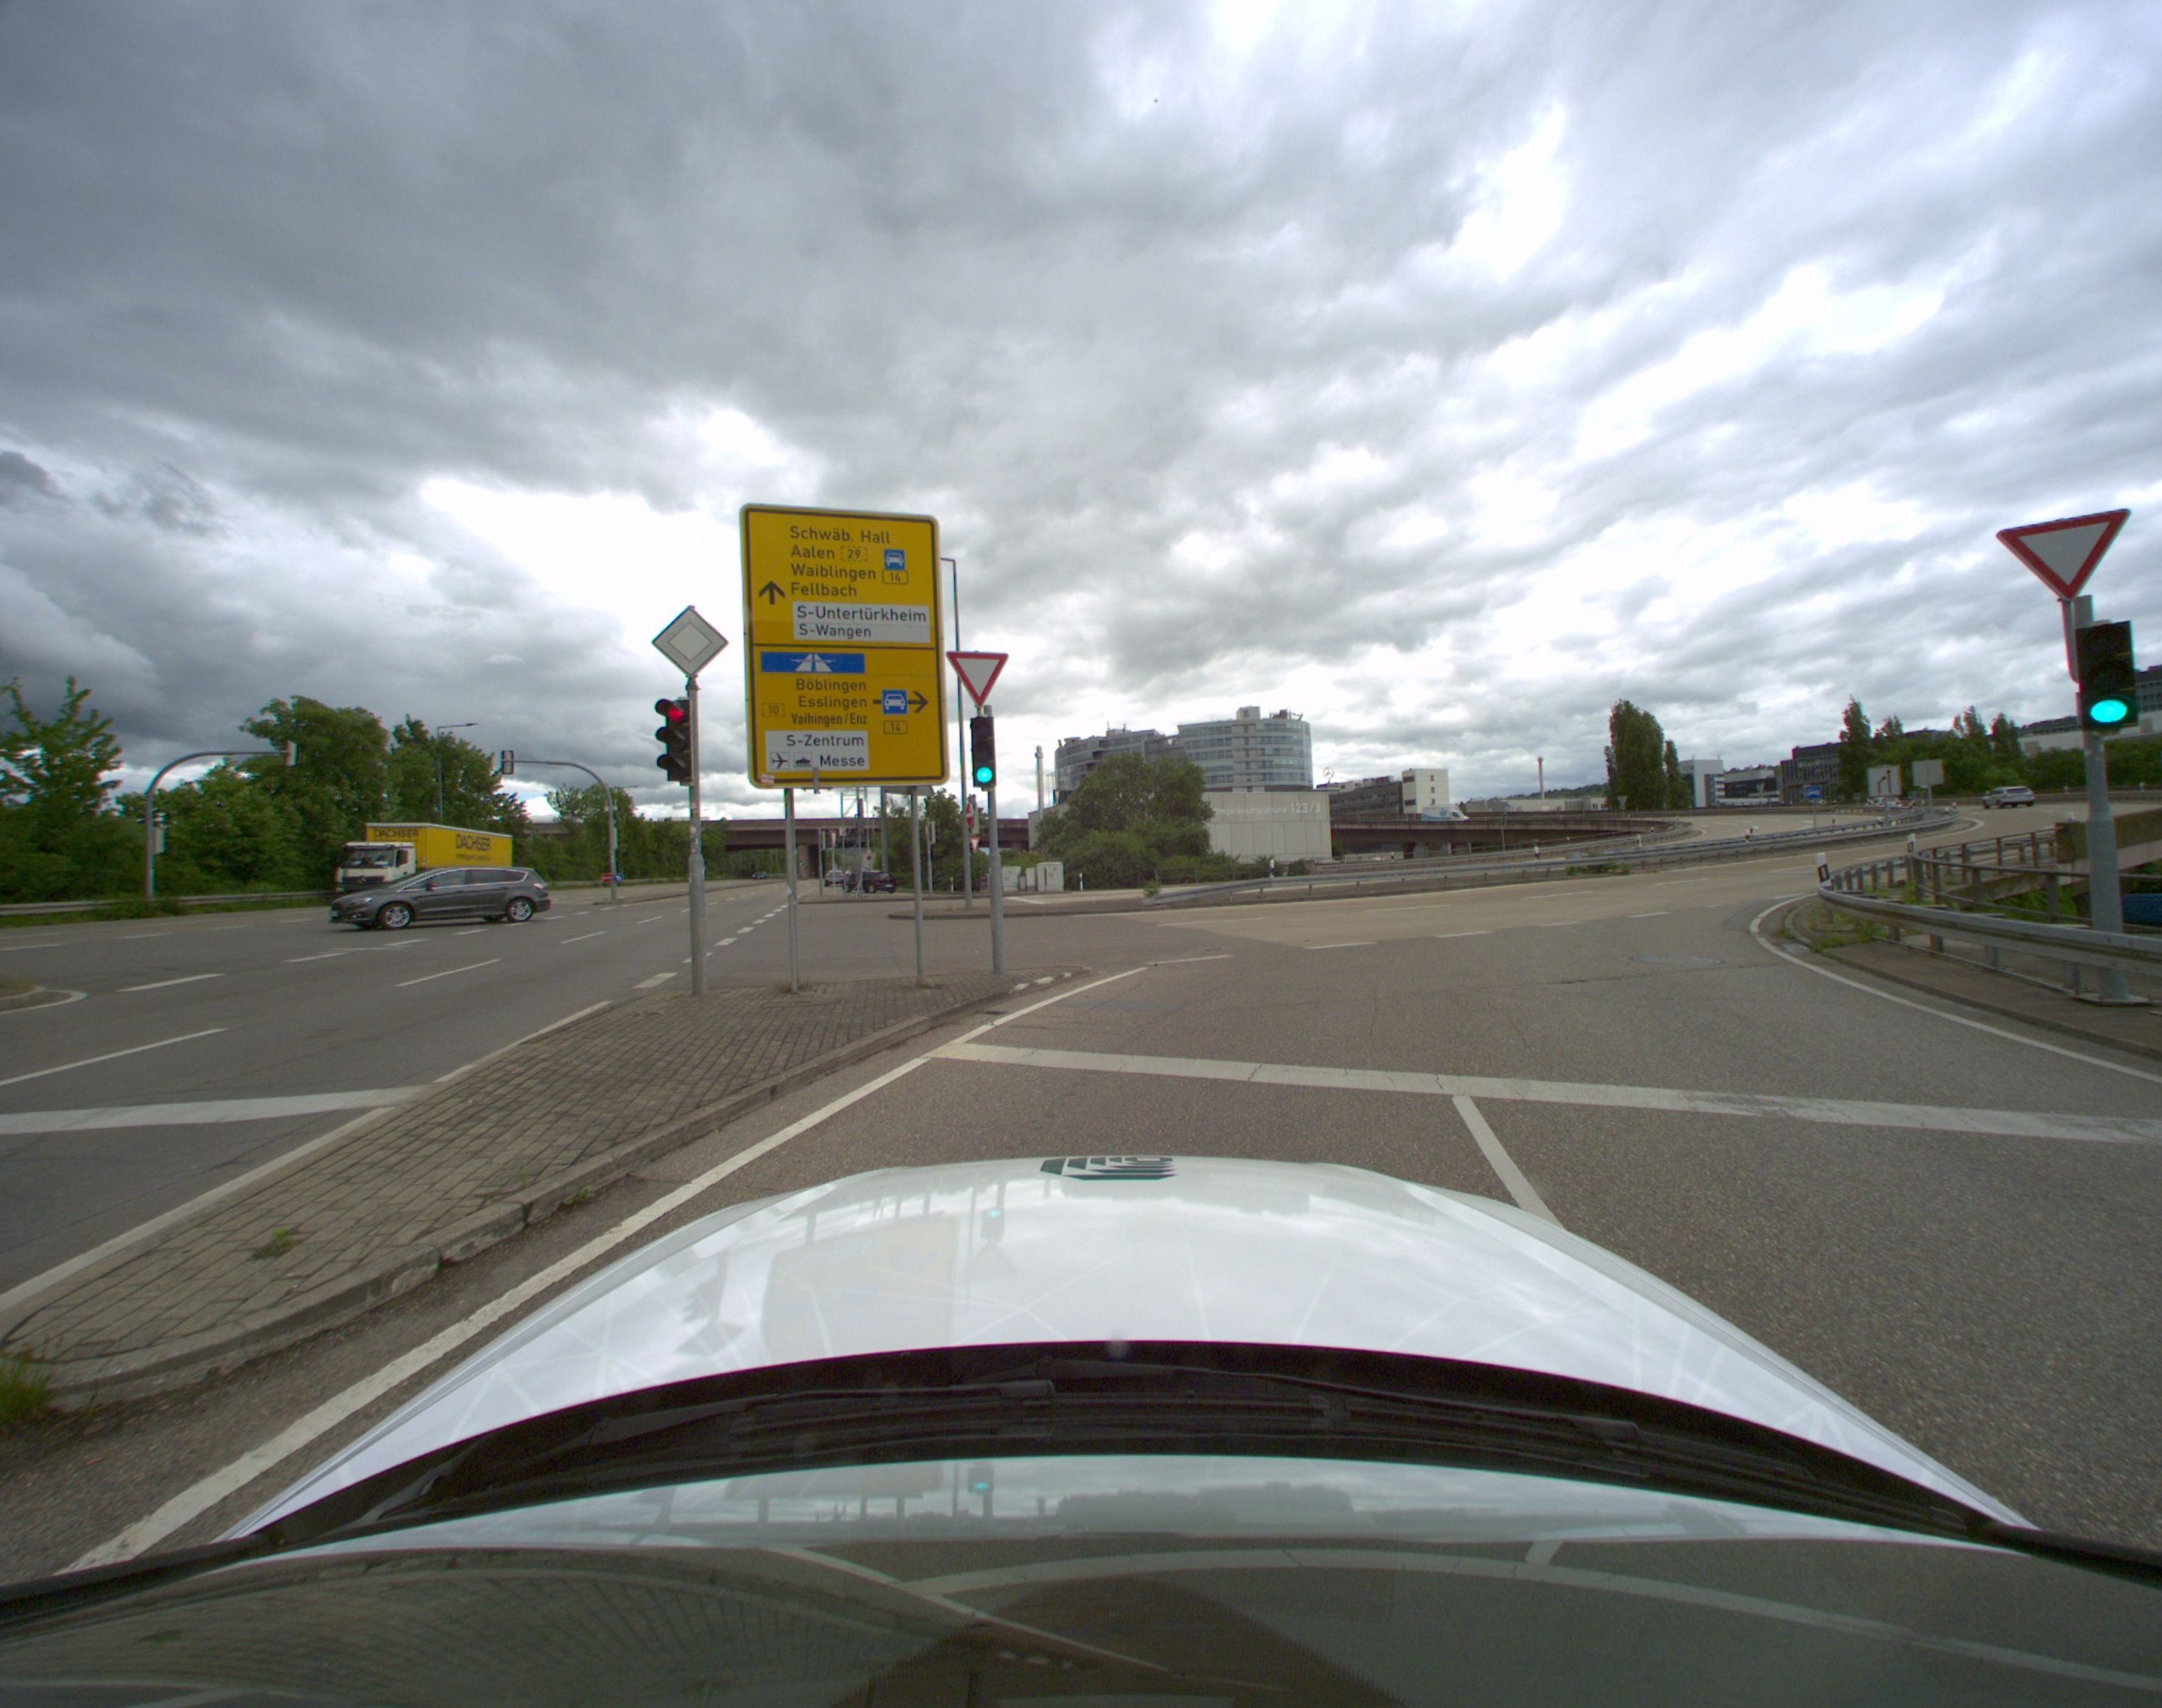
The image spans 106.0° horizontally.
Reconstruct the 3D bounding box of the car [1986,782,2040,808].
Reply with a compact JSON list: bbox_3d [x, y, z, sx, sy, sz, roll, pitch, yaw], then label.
[{"bbox_3d":[74.865,-4.720,65.481,1.707,1.737,4.585,-2,0,34],"label":"car"}]

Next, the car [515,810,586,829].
[{"bbox_3d":[-103.873,-6.689,159.609,11.098,3.030,3.487,2,0,-3],"label":"car"}]

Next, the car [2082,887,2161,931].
[{"bbox_3d":[71.823,3.735,54.722,2.016,2.588,5.356,1,2,-20],"label":"car"}]

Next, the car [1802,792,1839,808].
[{"bbox_3d":[94.281,-6.870,103.922,1.711,1.462,4.261,-4,-3,16],"label":"car"}]

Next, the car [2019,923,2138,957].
[{"bbox_3d":[53.929,4.622,44.110,1.833,1.354,3.826,-3,1,-30],"label":"car"}]

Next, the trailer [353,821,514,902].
[{"bbox_3d":[-36.735,0.446,46.956,2.877,4.084,11.367,1,-1,-15],"label":"trailer"}]

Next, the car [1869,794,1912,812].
[{"bbox_3d":[78.002,-4.889,78.507,1.708,1.400,4.091,-2,0,27],"label":"car"}]

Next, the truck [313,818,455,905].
[{"bbox_3d":[-35.291,0.396,41.590,2.877,4.084,6.453,1,-1,-15],"label":"truck"}]

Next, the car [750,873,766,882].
[{"bbox_3d":[-55.257,3.976,139.485,1.864,1.383,3.853,2,1,-12],"label":"car"}]

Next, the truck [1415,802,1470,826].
[{"bbox_3d":[54.989,-6.037,123.836,7.255,3.269,2.344,-1,-1,40],"label":"truck"}]

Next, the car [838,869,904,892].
[{"bbox_3d":[-13.519,1.721,52.378,3.942,1.422,1.927,-2,-2,31],"label":"car"}]

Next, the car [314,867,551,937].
[{"bbox_3d":[-17.635,1.211,22.413,1.930,1.571,4.724,-1,0,34],"label":"car"}]

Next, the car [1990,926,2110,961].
[{"bbox_3d":[51.249,4.695,43.160,1.833,1.354,3.826,-3,1,-30],"label":"car"}]

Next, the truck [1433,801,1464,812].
[{"bbox_3d":[74.438,-9.600,164.989,5.607,2.164,1.999,0,-1,-2],"label":"truck"}]

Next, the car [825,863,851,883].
[{"bbox_3d":[-22.478,1.721,75.498,1.911,1.662,4.727,2,0,-12],"label":"car"}]

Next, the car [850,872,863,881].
[{"bbox_3d":[-36.378,3.656,131.964,1.996,1.464,4.090,0,-3,-13],"label":"car"}]
